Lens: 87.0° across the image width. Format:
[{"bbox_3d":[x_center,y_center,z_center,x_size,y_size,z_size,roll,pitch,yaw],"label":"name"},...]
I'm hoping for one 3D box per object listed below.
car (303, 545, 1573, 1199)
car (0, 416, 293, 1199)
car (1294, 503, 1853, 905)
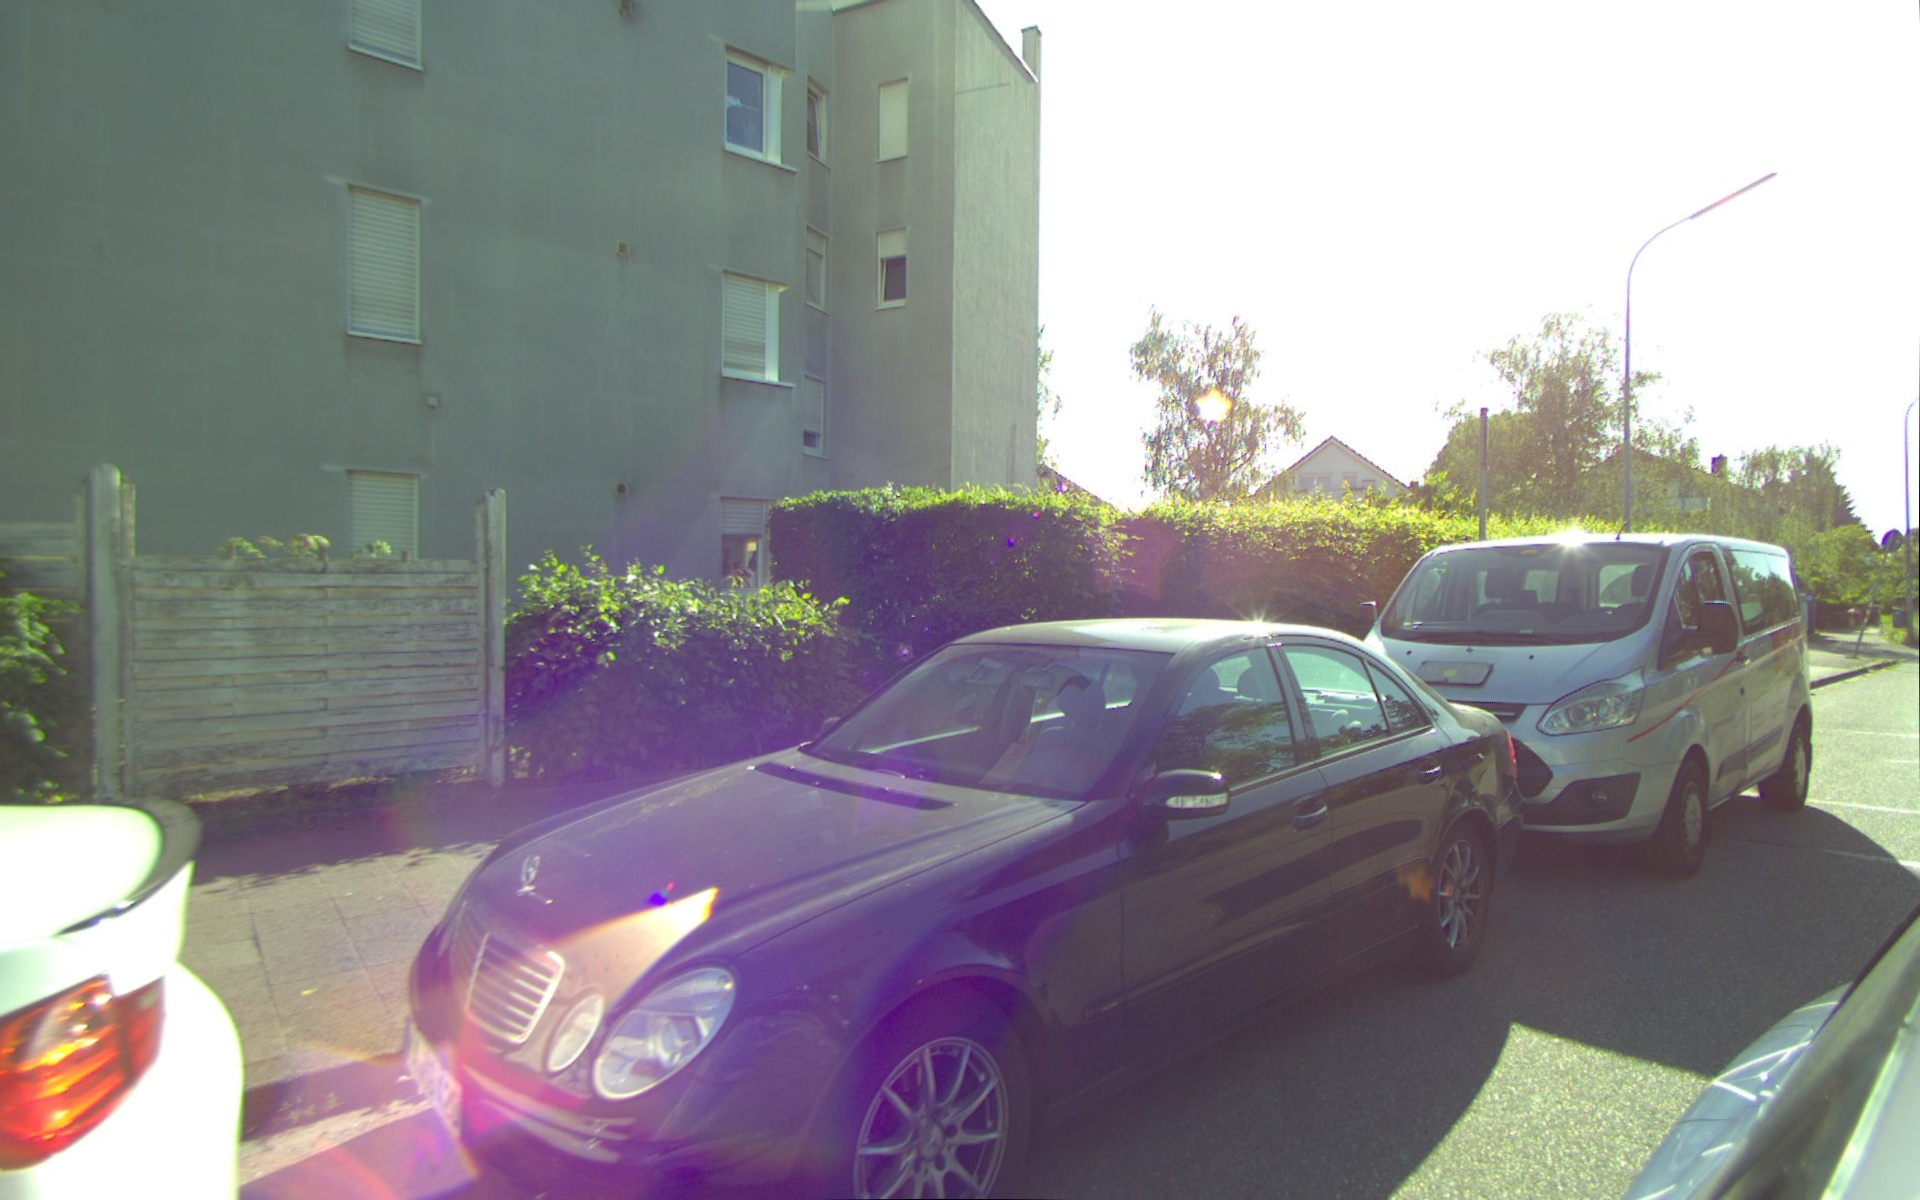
[{"bbox_3d":[0.457,0.582,3.946,4.839,1.435,1.996,-1,1,-42],"label":"car"},{"bbox_3d":[-3.100,0.559,0.675,4.296,1.507,1.914,-1,1,-39],"label":"car"},{"bbox_3d":[4.601,0.454,7.224,4.867,1.936,1.997,-1,1,-41],"label":"car"}]
